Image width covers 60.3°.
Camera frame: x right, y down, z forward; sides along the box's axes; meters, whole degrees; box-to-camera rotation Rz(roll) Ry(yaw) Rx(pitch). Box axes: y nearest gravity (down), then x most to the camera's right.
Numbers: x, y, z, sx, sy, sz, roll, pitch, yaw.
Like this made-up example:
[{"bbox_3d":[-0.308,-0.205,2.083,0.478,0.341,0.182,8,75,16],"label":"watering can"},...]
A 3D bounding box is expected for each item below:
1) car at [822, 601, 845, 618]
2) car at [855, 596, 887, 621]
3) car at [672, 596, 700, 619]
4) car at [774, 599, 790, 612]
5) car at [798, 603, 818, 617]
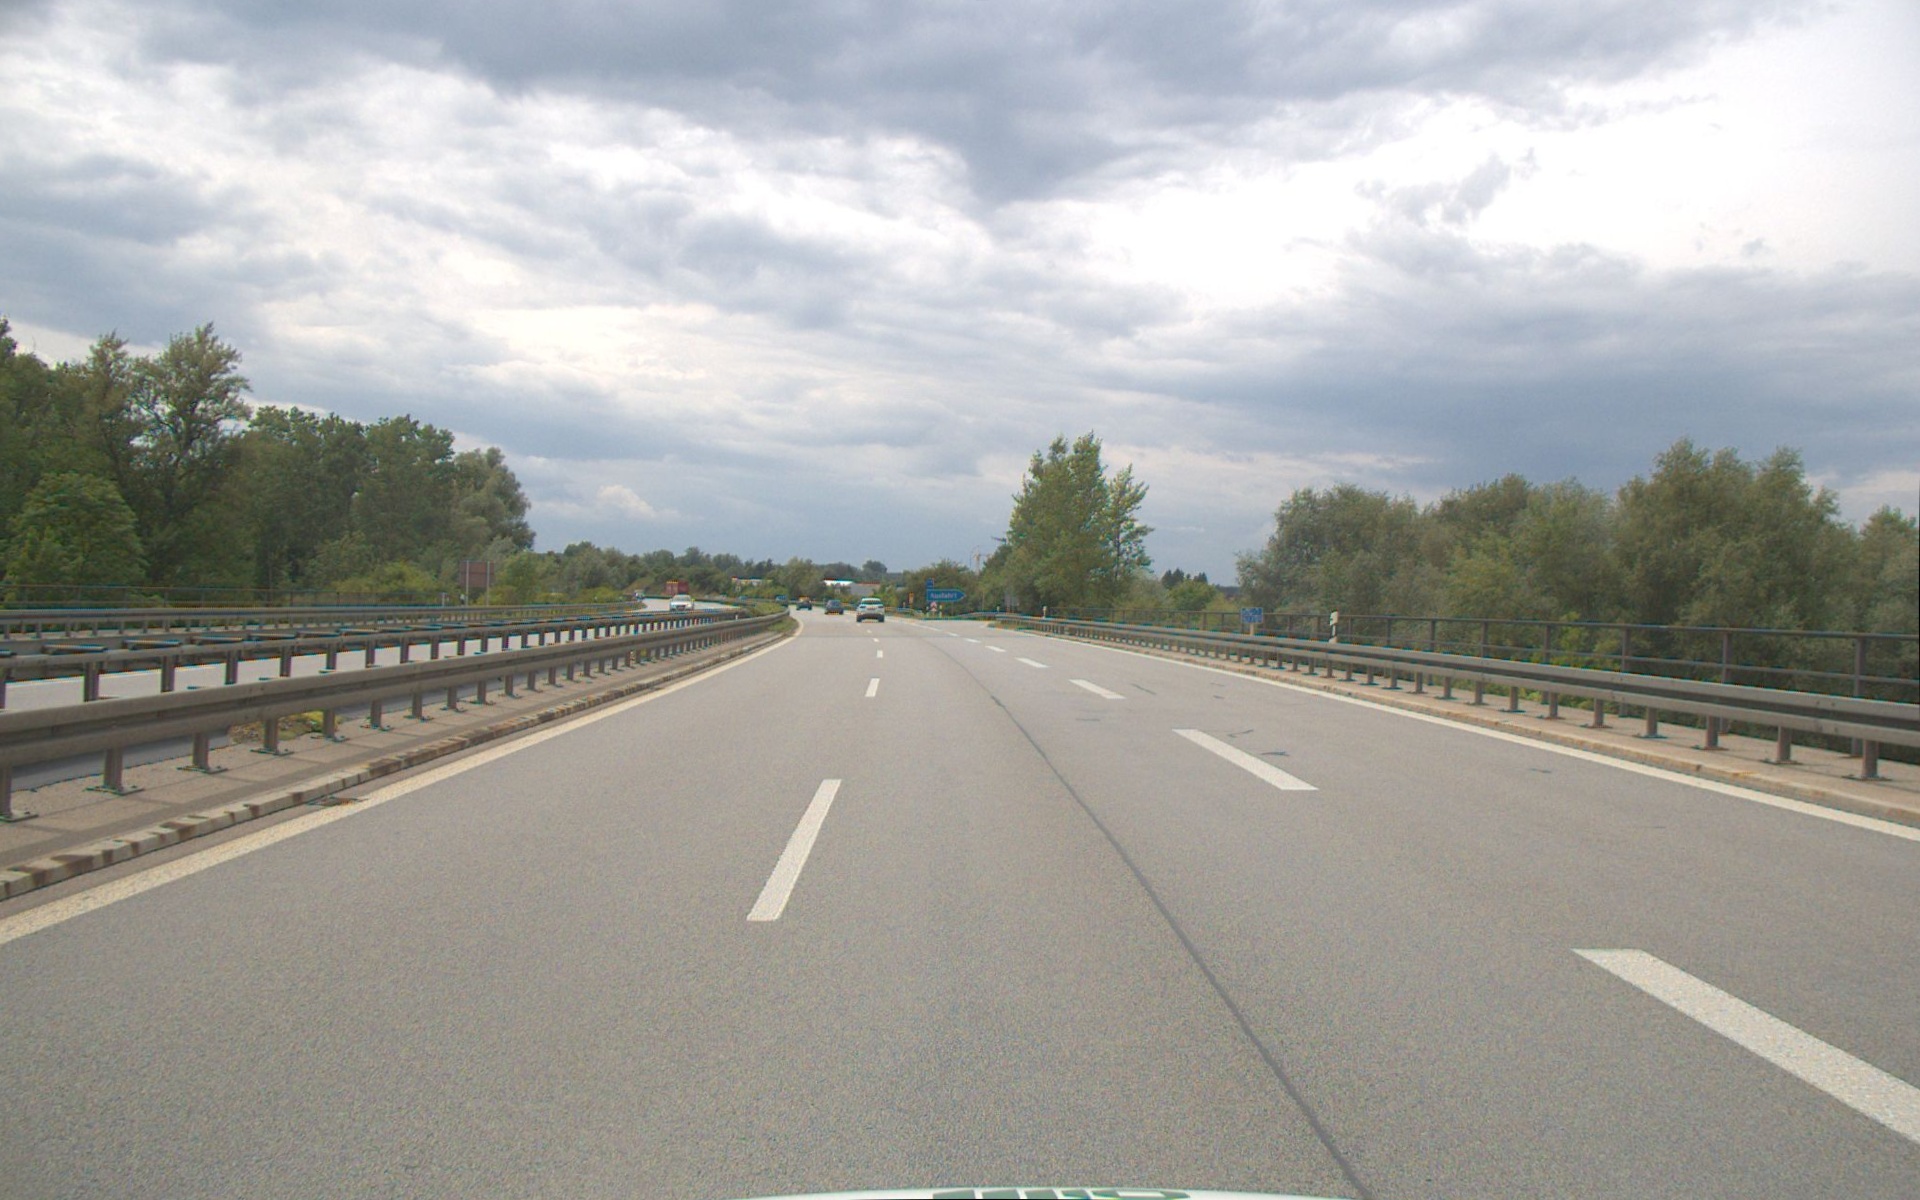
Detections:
[{"bbox_3d":[-12.890,0.957,168.235,1.858,1.668,4.610,1,0,-11],"label":"car"},{"bbox_3d":[-6.283,0.612,116.884,1.867,1.668,4.388,1,0,-8],"label":"car"},{"bbox_3d":[-21.349,0.558,129.040,1.610,1.745,4.977,1,0,-4],"label":"car"},{"bbox_3d":[-26.212,0.809,243.041,1.795,1.825,4.397,1,0,-14],"label":"car"},{"bbox_3d":[-19.440,1.302,210.901,1.870,1.668,4.763,1,0,-13],"label":"car"}]
